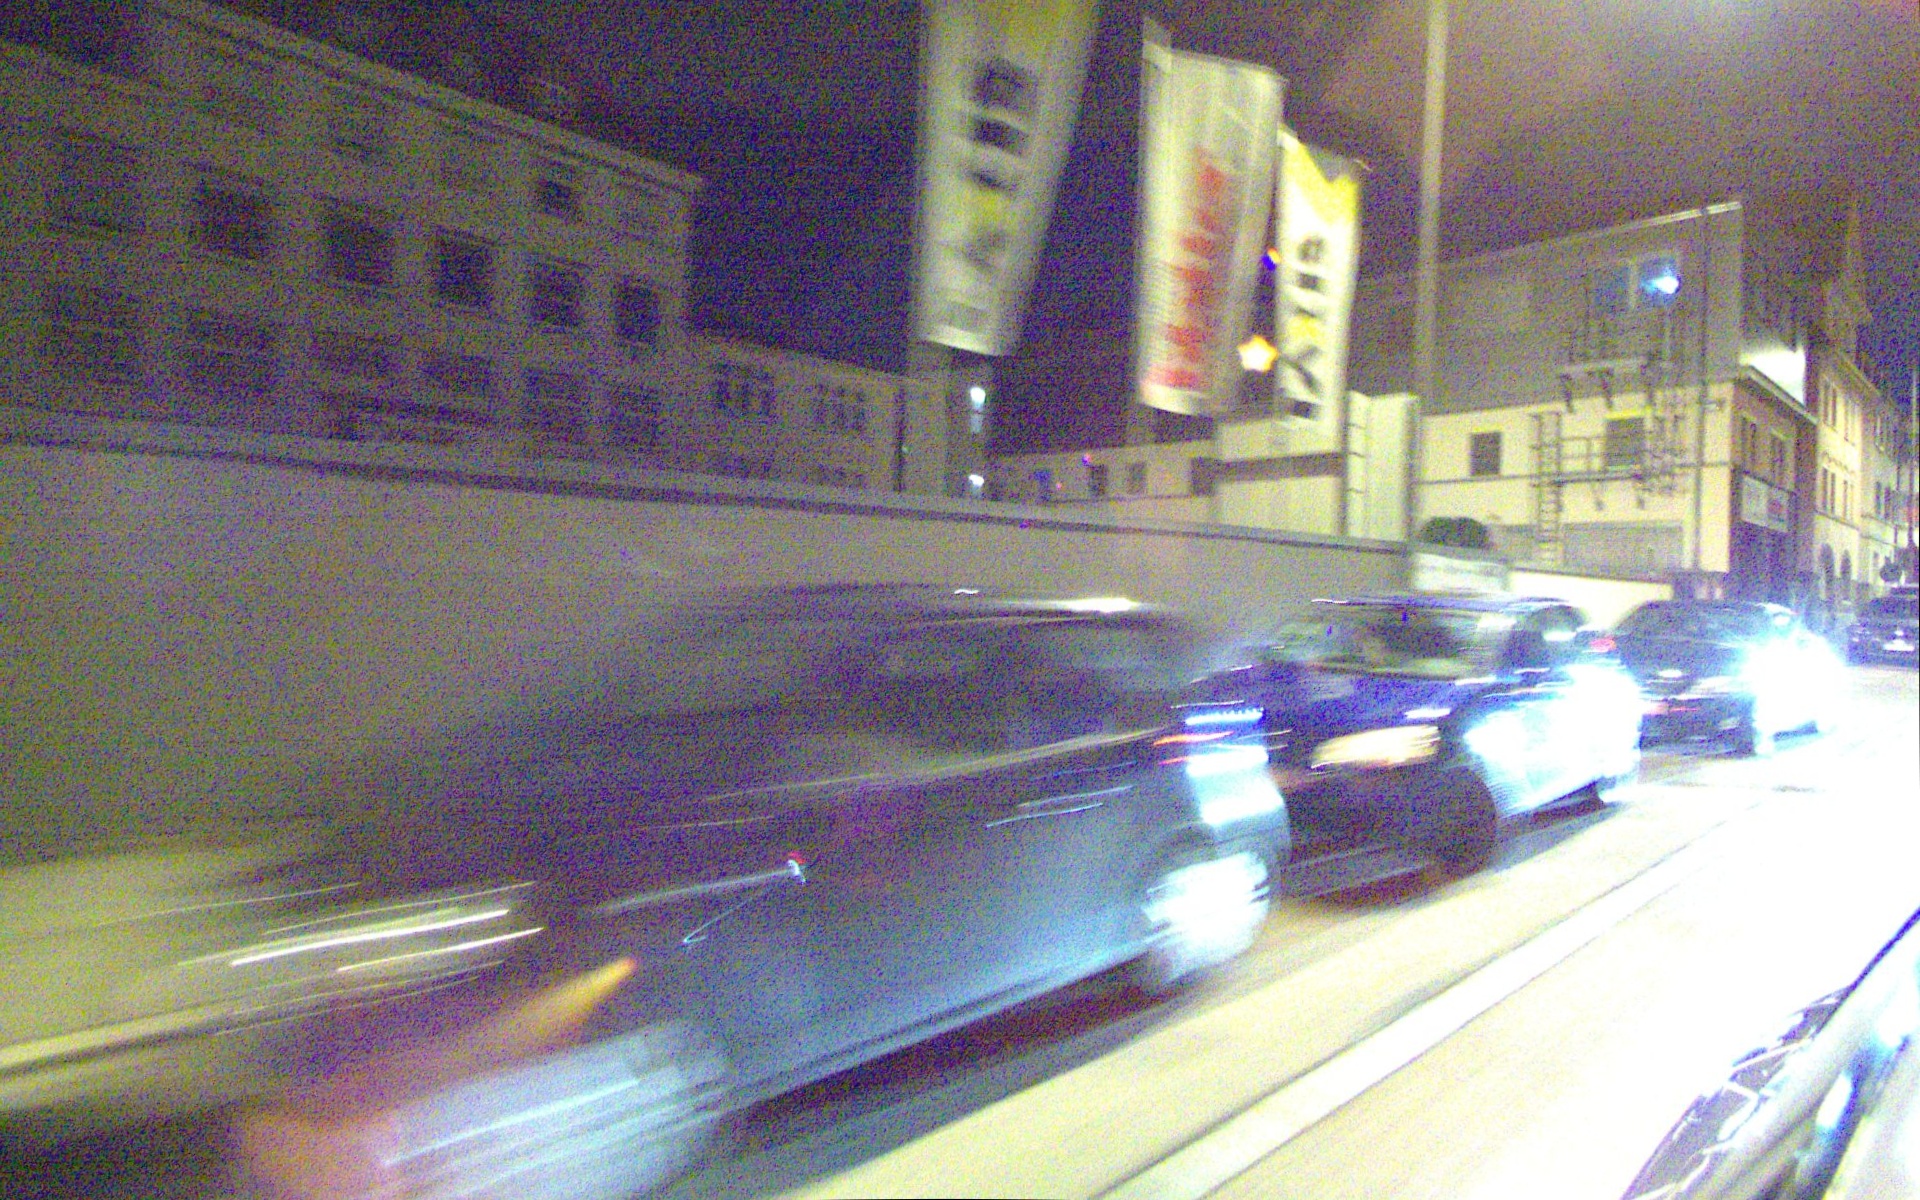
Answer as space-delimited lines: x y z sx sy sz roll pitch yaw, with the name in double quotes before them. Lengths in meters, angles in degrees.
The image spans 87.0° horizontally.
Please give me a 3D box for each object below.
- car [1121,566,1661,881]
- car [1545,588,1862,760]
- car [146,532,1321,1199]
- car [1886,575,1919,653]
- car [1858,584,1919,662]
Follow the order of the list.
"car" 2.963 0.520 6.582 3.825 1.444 1.781 -1 1 -42
"car" 8.135 0.618 10.916 4.402 1.444 1.782 -1 1 -40
"car" -0.449 0.586 3.499 3.654 1.485 1.598 -1 1 -40
"car" 26.477 0.337 26.958 5.278 1.952 2.076 -1 3 -41
"car" 22.387 0.492 23.533 4.150 1.618 1.822 -1 4 -43
